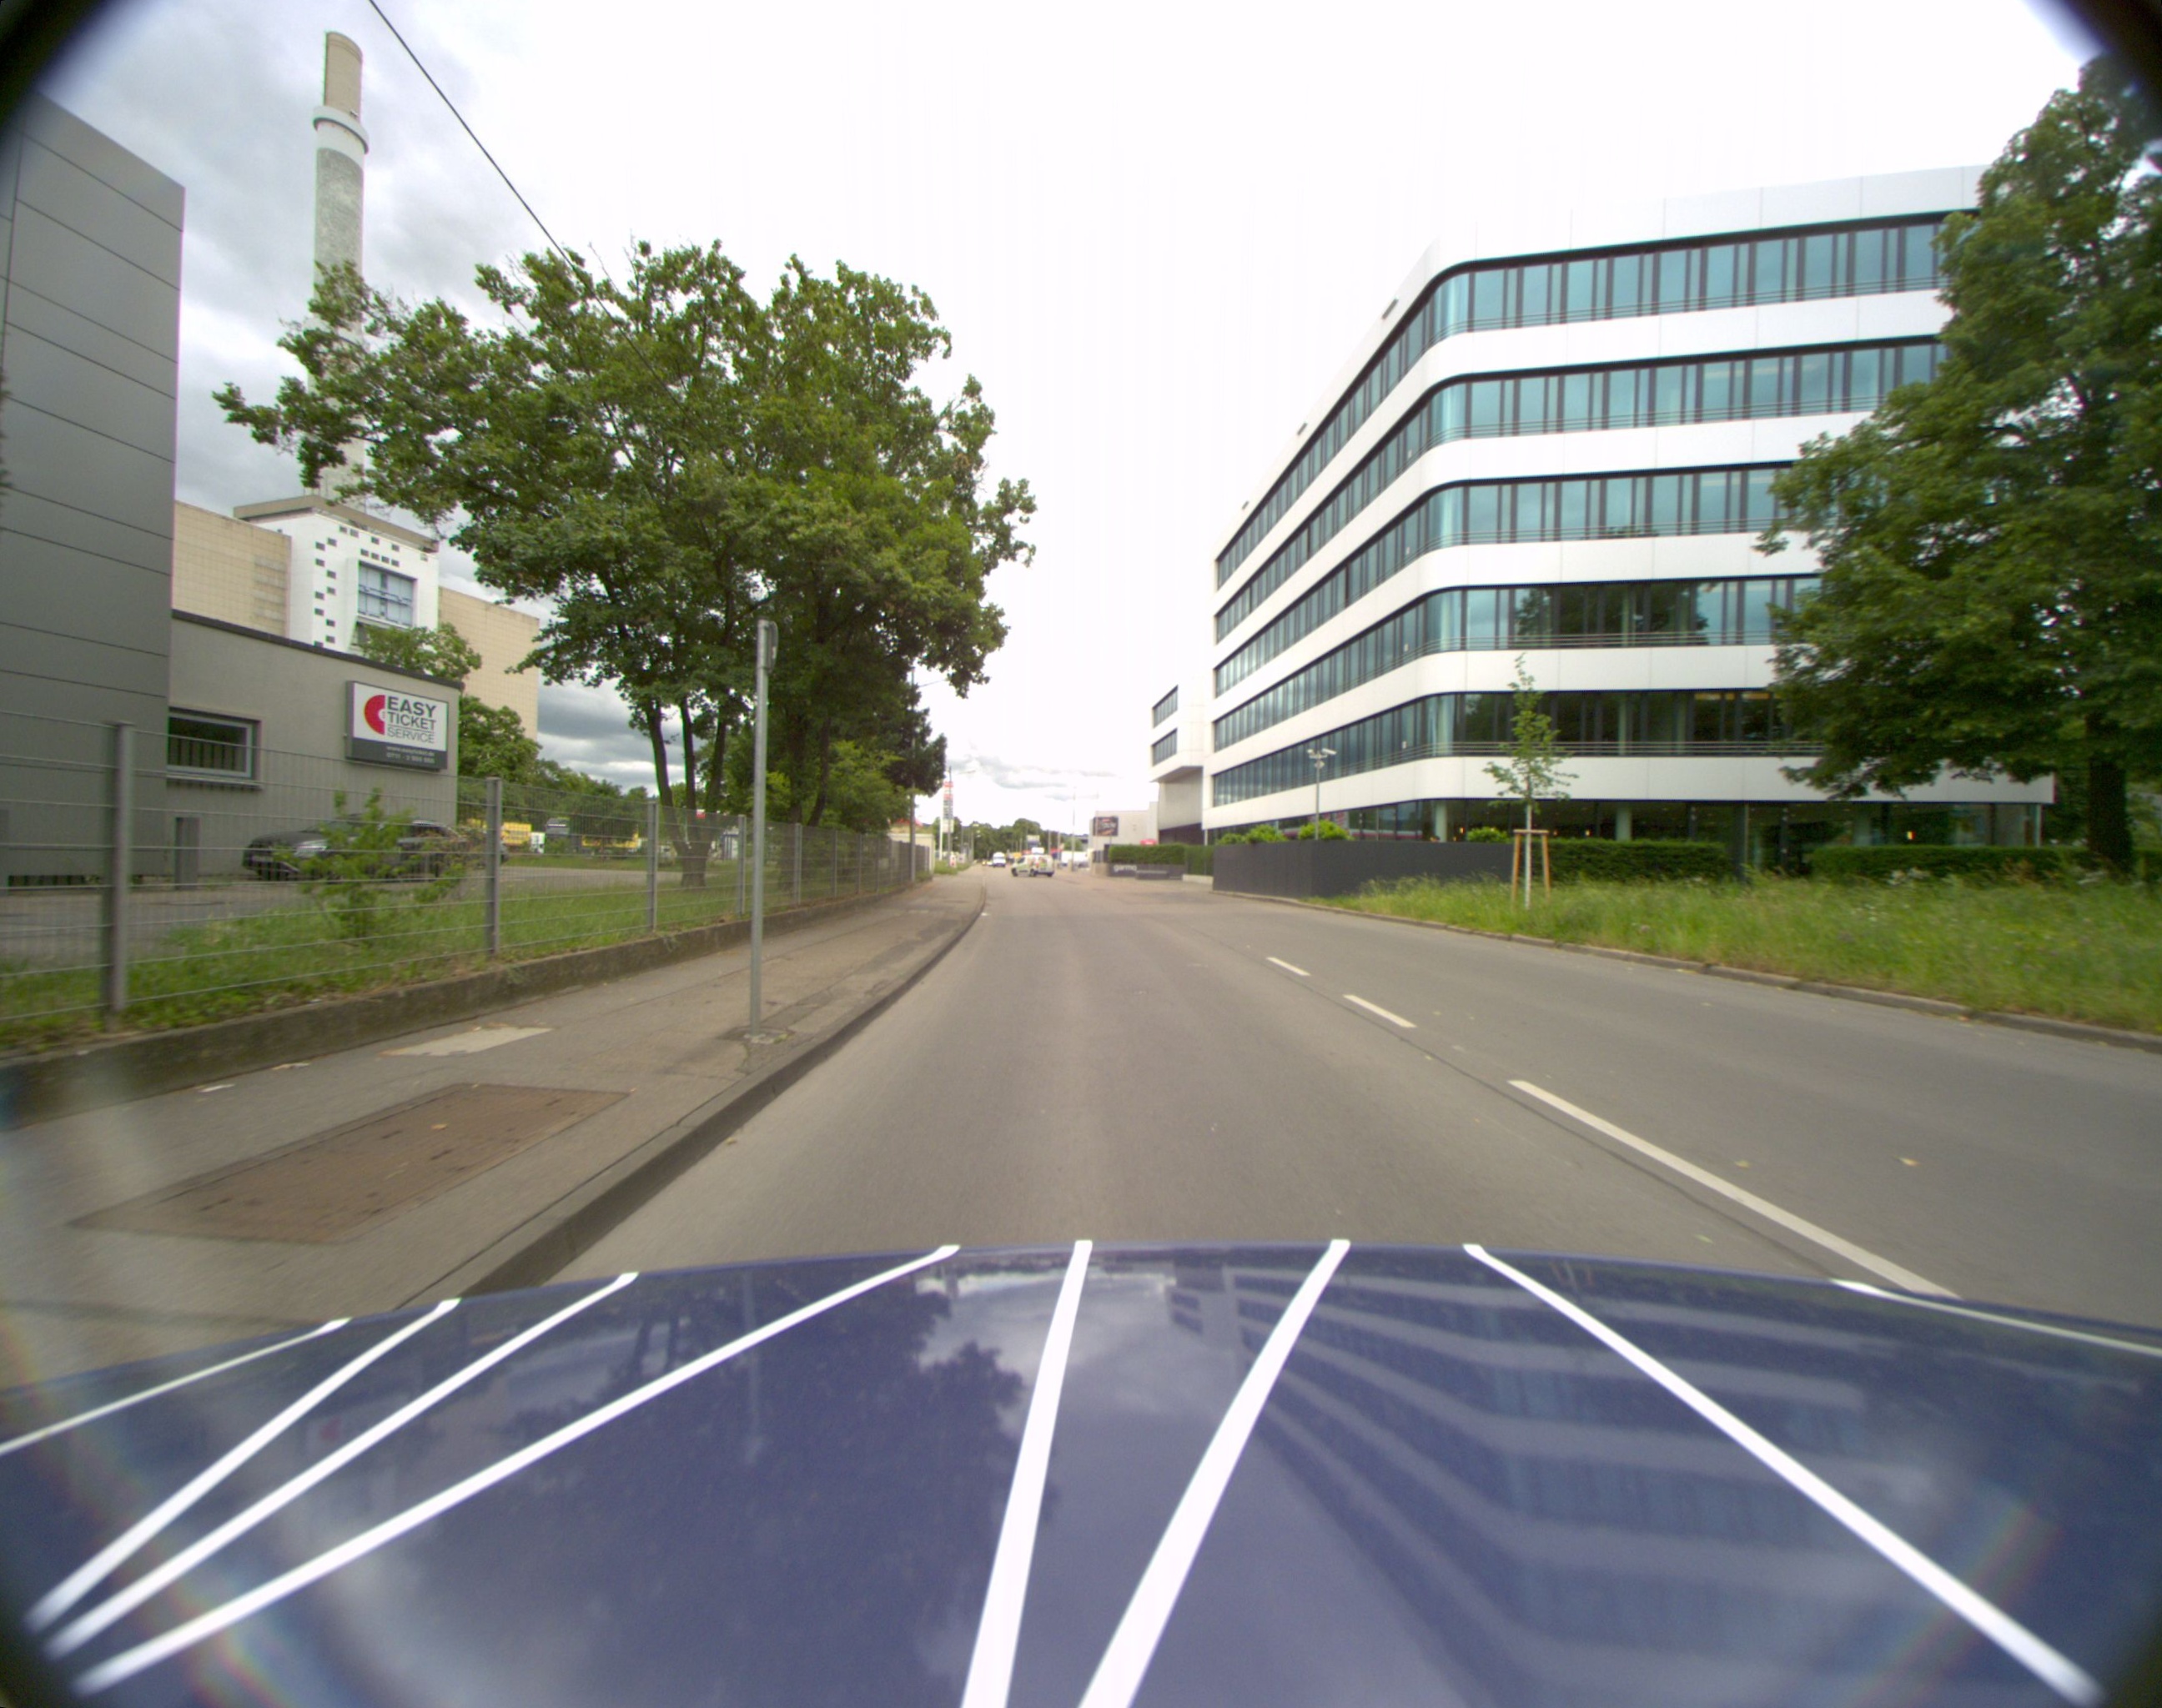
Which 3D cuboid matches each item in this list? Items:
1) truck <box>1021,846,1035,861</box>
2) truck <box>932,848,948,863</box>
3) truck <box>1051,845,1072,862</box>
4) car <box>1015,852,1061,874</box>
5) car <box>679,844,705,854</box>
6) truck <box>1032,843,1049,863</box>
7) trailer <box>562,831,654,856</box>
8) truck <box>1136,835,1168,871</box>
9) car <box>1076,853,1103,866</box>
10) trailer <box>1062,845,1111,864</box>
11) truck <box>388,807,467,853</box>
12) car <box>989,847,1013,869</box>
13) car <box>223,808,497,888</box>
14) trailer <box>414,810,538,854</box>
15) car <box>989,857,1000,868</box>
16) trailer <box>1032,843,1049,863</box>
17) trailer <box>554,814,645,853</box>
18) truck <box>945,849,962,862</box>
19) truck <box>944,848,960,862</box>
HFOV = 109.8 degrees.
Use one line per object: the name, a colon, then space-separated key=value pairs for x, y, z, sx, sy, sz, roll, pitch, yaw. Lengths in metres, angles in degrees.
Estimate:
truck: x=-13.993 y=-0.033 z=200.016 sx=3.023 sy=3.826 sz=5.667 roll=3 pitch=0 yaw=-7
truck: x=-39.048 y=0.332 z=209.691 sx=2.878 sy=3.989 sz=6.744 roll=3 pitch=-1 yaw=-22
truck: x=-4.963 y=-0.173 z=195.637 sx=4.881 sy=4.108 sz=3.046 roll=3 pitch=0 yaw=-6
car: x=-3.567 y=0.698 z=62.145 sx=1.817 sy=1.754 sz=4.194 roll=0 pitch=0 yaw=-35
car: x=-57.524 y=-0.658 z=112.469 sx=1.990 sy=1.361 sz=4.682 roll=2 pitch=-1 yaw=-8
truck: x=-8.766 y=-0.159 z=164.697 sx=3.369 sy=4.135 sz=5.625 roll=3 pitch=0 yaw=-3
trailer: x=-85.882 y=-1.855 z=137.786 sx=18.456 sy=4.148 sz=3.649 roll=1 pitch=-1 yaw=20
truck: x=8.474 y=-0.032 z=89.490 sx=2.746 sy=4.007 sz=7.101 roll=1 pitch=-1 yaw=13
car: x=1.849 y=1.265 z=162.116 sx=5.425 sy=2.714 sz=2.244 roll=0 pitch=-1 yaw=12
trailer: x=1.511 y=0.176 z=195.001 sx=12.026 sy=4.108 sz=3.052 roll=3 pitch=0 yaw=11
truck: x=-64.937 y=-2.262 z=75.699 sx=3.054 sy=4.237 sz=6.036 roll=2 pitch=0 yaw=-8
car: x=-13.986 y=0.733 z=131.955 sx=3.342 sy=3.586 sz=8.662 roll=2 pitch=-1 yaw=-10
car: x=-16.884 y=-0.074 z=18.190 sx=1.997 sy=1.557 sz=4.445 roll=4 pitch=-1 yaw=6
trailer: x=-66.106 y=-2.206 z=83.873 sx=3.030 sy=4.235 sz=15.713 roll=2 pitch=0 yaw=-8
car: x=-17.055 y=1.692 z=149.128 sx=1.714 sy=2.001 sz=3.886 roll=2 pitch=-1 yaw=-12
trailer: x=-9.184 y=-0.102 z=171.681 sx=3.369 sy=4.135 sz=13.844 roll=3 pitch=-1 yaw=-3
trailer: x=-53.943 y=-2.130 z=85.843 sx=3.009 sy=3.891 sz=14.291 roll=2 pitch=0 yaw=-8
truck: x=-38.788 y=0.462 z=231.178 sx=2.834 sy=3.689 sz=9.084 roll=1 pitch=0 yaw=-25
truck: x=-36.358 y=0.268 z=214.337 sx=2.878 sy=3.608 sz=6.744 roll=3 pitch=-1 yaw=-22
